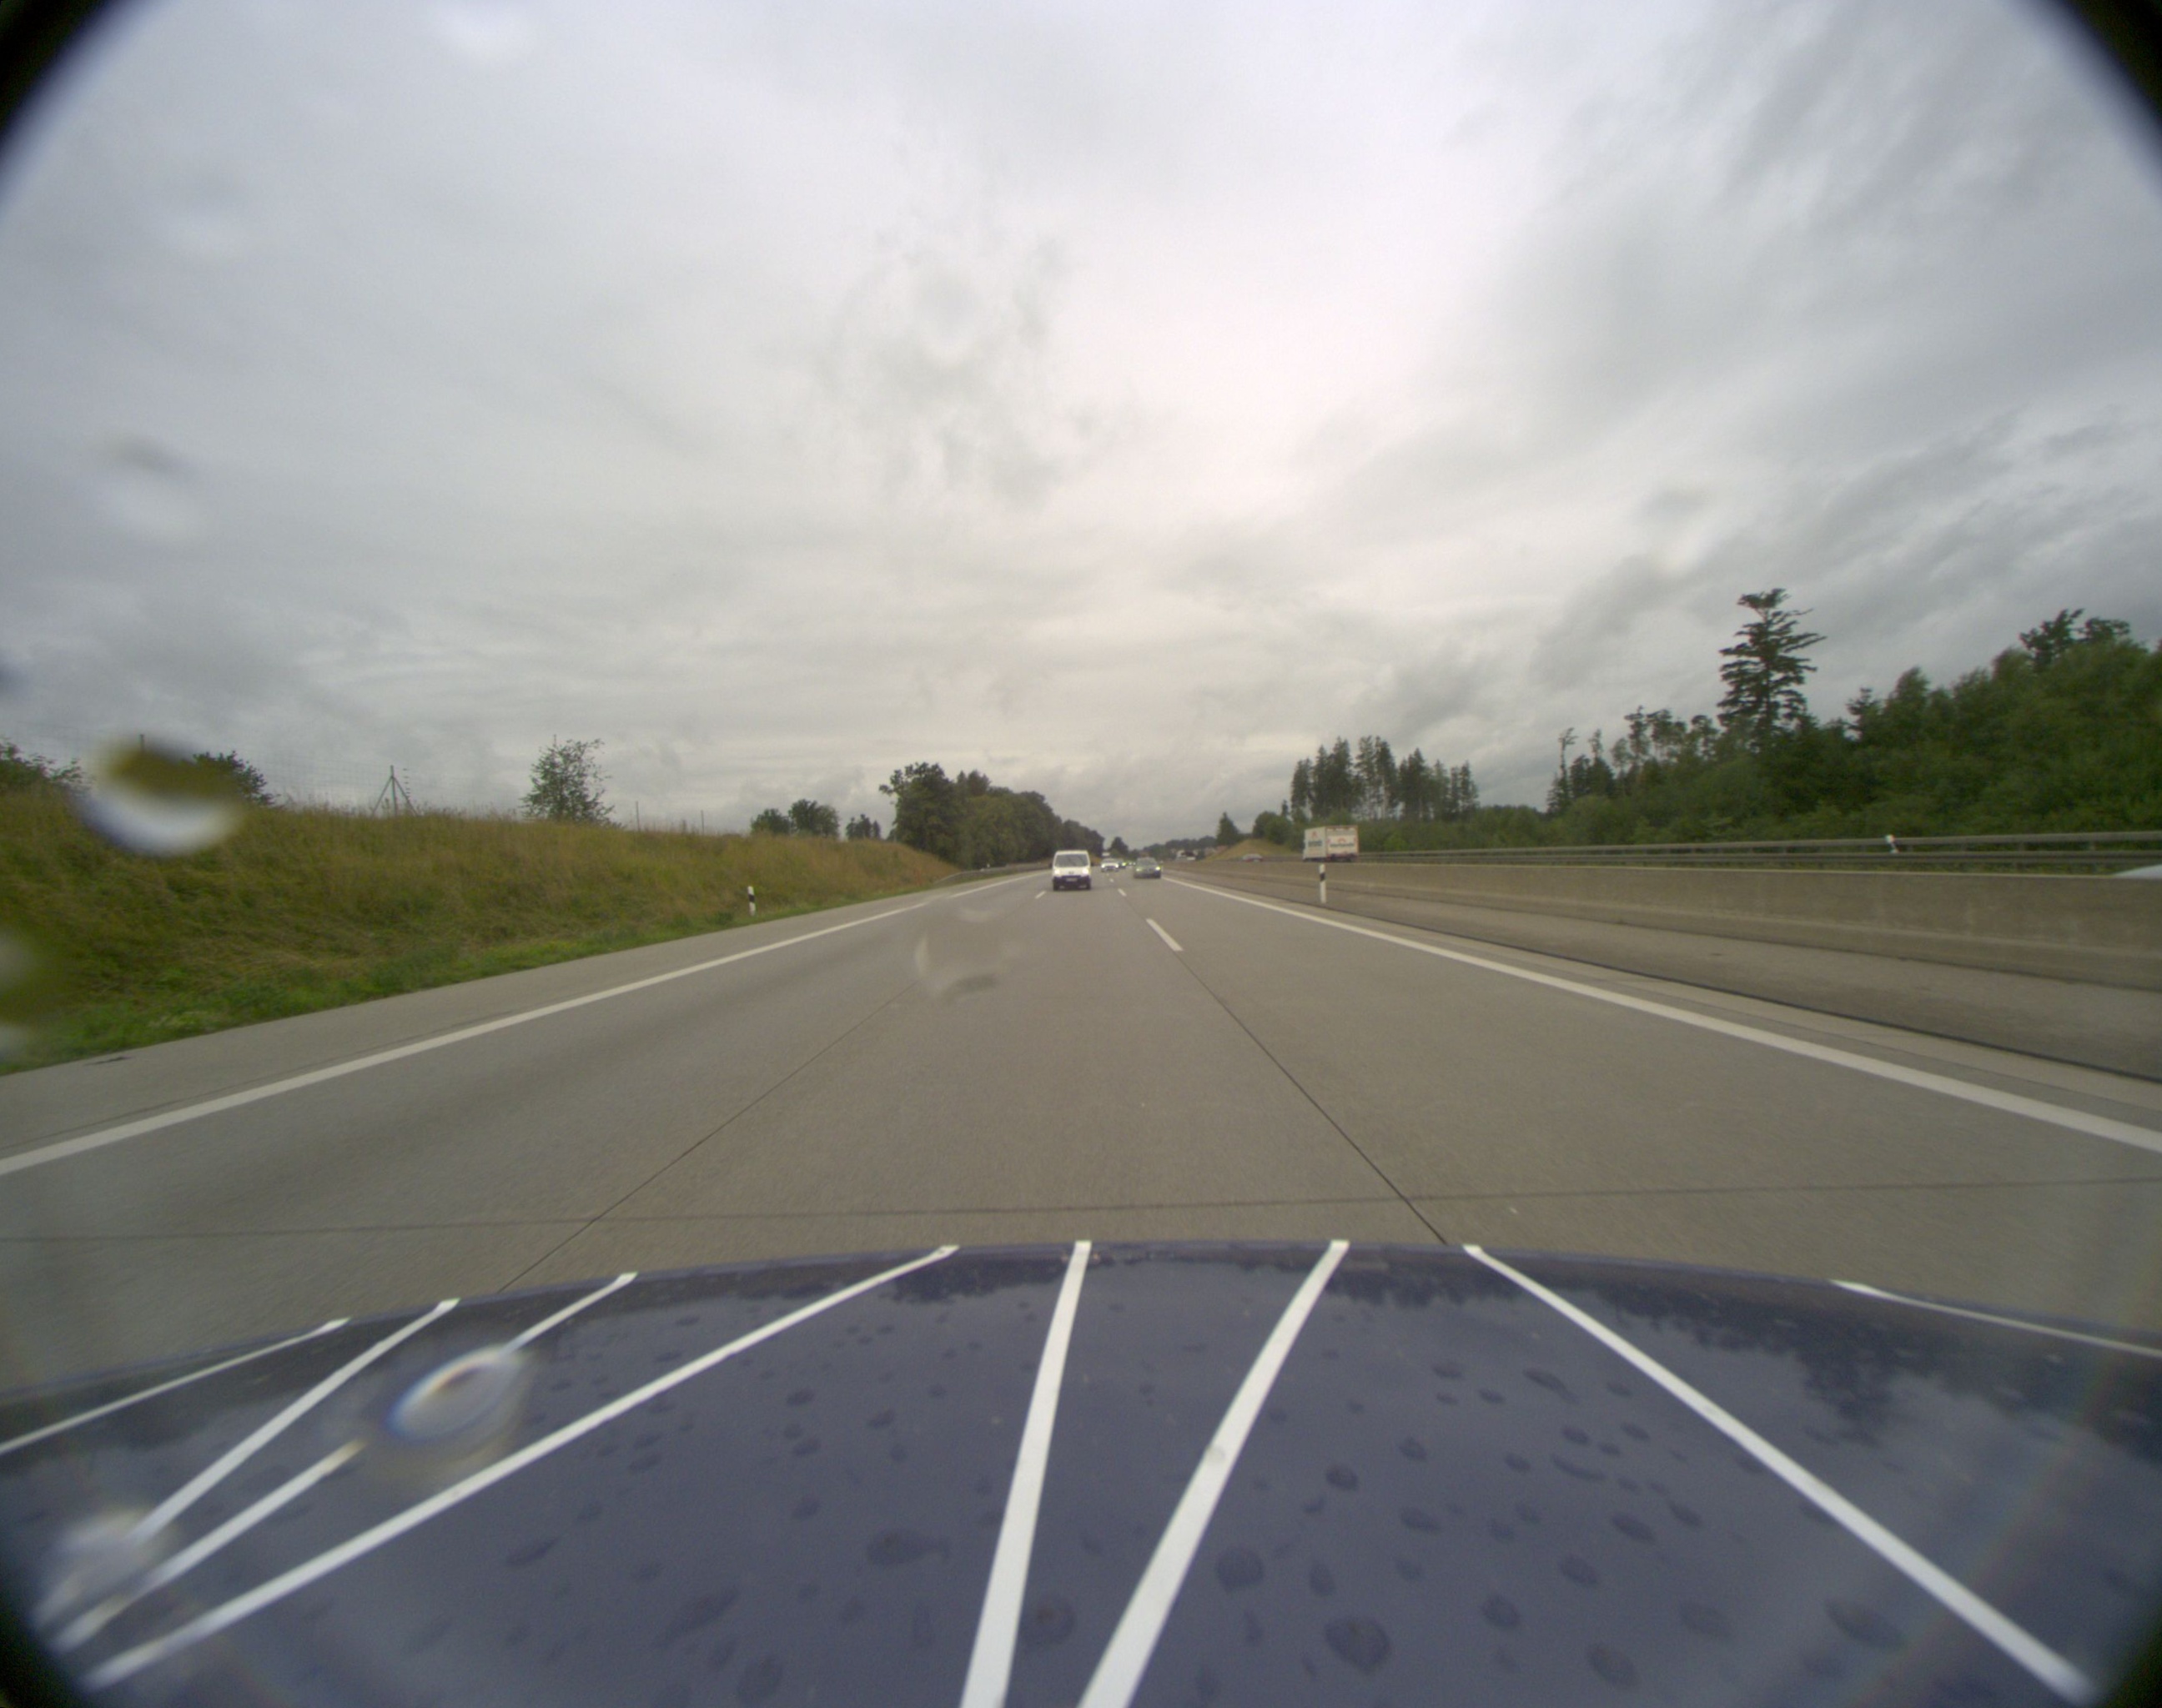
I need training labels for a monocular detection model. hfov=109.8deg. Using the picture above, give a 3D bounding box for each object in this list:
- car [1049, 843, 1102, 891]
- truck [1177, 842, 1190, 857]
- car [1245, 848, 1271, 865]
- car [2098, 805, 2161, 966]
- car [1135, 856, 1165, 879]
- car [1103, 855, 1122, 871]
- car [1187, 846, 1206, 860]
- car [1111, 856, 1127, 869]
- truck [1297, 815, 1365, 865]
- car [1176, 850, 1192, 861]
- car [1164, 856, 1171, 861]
[{"bbox_3d":[-0.166,0.599,38.274,2.042,2.111,6.070,-2,0,5],"label":"car"},{"bbox_3d":[30.424,-1.299,225.833,2.843,4.108,8.853,-2,0,3],"label":"truck"},{"bbox_3d":[17.177,0.238,73.876,1.633,1.557,4.411,-2,0,2],"label":"car"},{"bbox_3d":[11.523,0.279,5.631,1.703,1.605,4.720,-2,0,2],"label":"car"},{"bbox_3d":[4.804,0.923,53.240,1.789,1.472,4.571,-2,0,2],"label":"car"},{"bbox_3d":[3.556,1.042,85.774,2.031,1.669,4.319,-2,0,2],"label":"car"},{"bbox_3d":[21.043,-0.211,138.431,2.627,2.386,7.518,-2,0,3],"label":"car"},{"bbox_3d":[5.254,1.170,106.003,1.885,1.669,4.319,-2,0,0],"label":"car"},{"bbox_3d":[21.152,-1.108,64.954,2.906,3.841,8.900,-2,0,1],"label":"truck"},{"bbox_3d":[14.773,0.225,109.031,1.746,1.557,4.499,-2,0,2],"label":"car"},{"bbox_3d":[24.696,1.254,216.489,1.833,1.525,5.091,-2,0,4],"label":"car"}]
